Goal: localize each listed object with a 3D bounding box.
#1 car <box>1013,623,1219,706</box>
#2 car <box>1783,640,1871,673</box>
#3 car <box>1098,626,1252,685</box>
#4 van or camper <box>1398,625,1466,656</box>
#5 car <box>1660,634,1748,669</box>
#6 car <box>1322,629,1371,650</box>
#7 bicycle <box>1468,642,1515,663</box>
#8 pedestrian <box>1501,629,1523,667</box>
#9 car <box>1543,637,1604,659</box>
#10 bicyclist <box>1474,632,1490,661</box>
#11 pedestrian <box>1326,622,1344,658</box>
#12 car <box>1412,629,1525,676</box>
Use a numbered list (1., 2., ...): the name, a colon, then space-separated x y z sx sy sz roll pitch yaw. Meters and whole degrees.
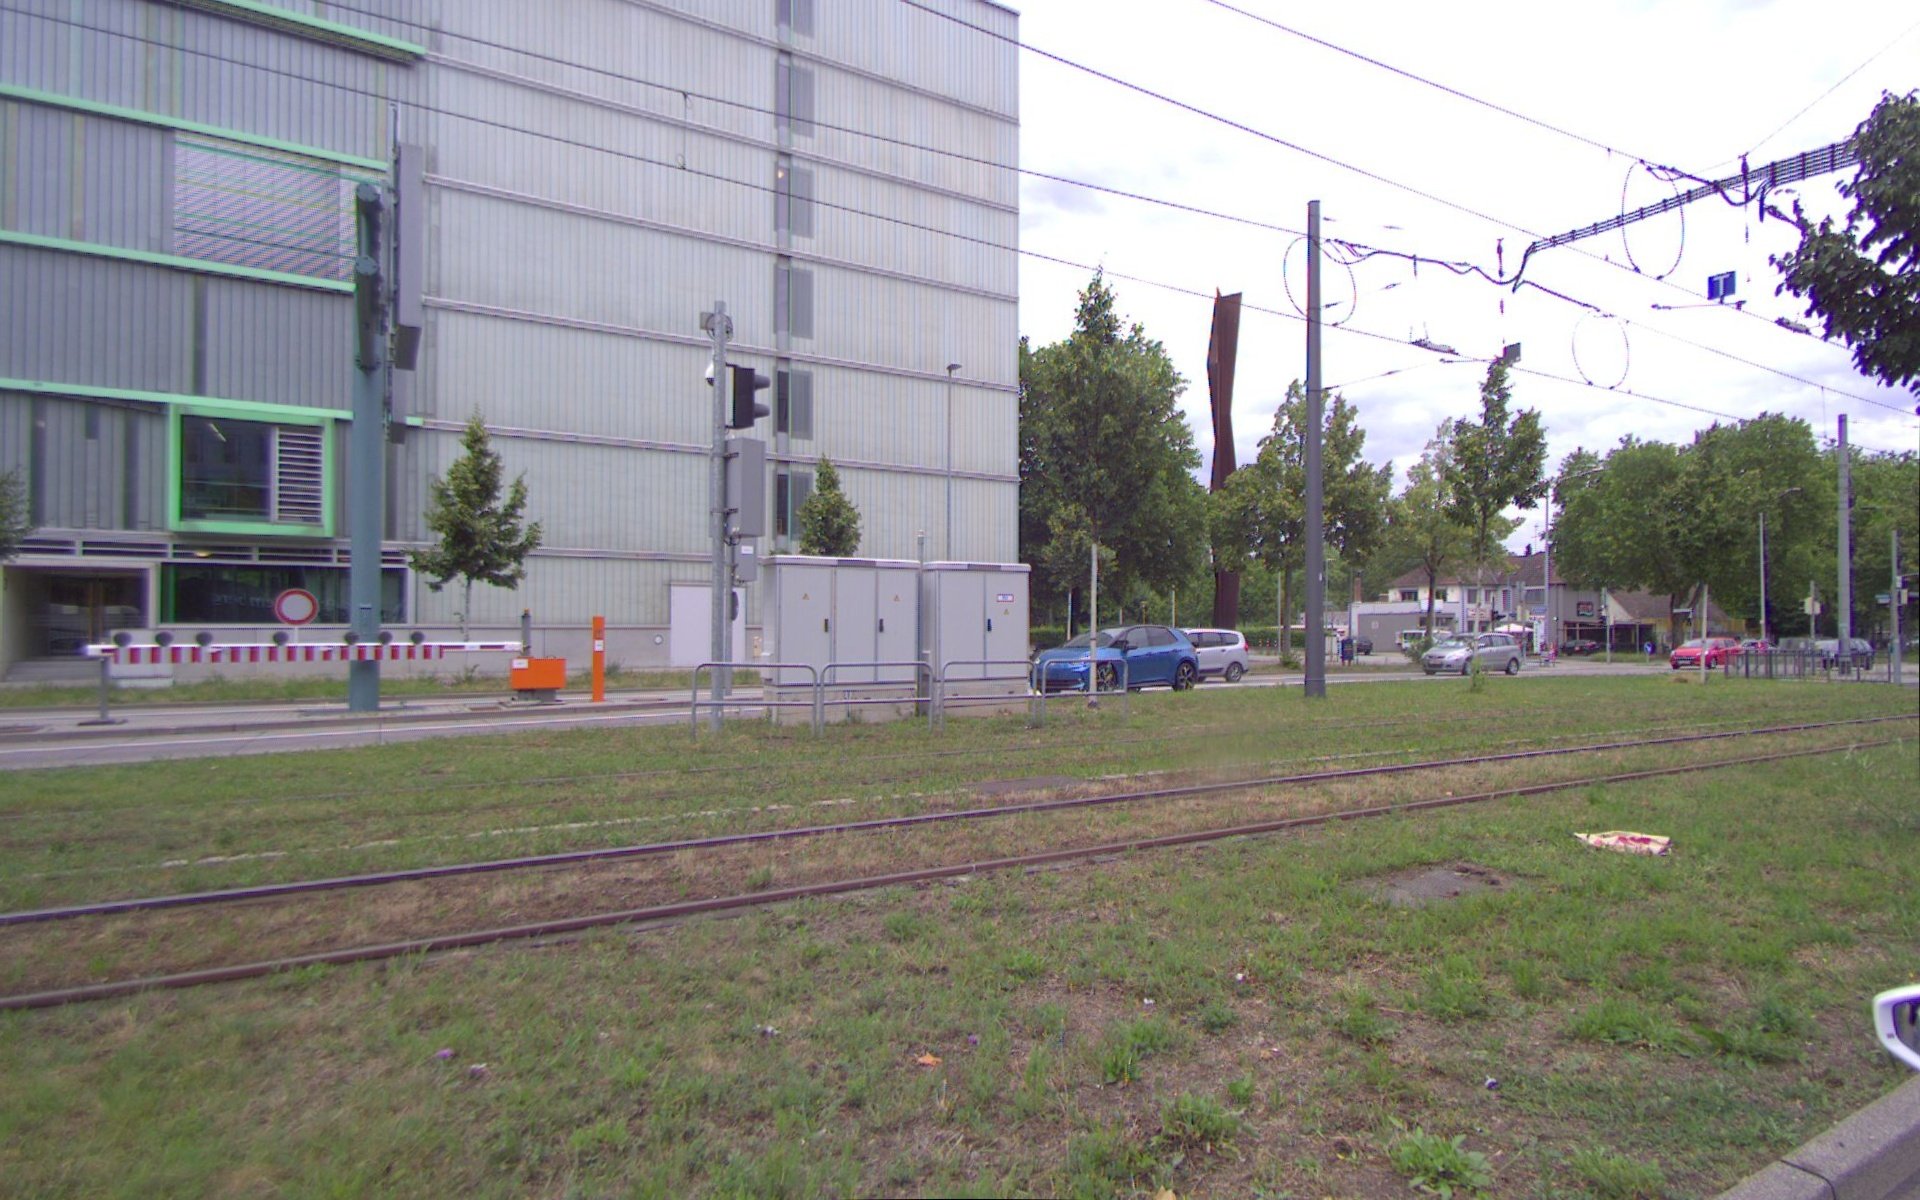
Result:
1. car: 3.534 1.338 22.279 4.649 1.609 1.948 1 -1 -39
2. car: 39.606 2.553 45.846 4.692 1.445 1.655 1 -3 -32
3. car: 6.504 1.655 30.229 4.529 1.591 1.786 2 1 -32
4. van or camper: 32.408 2.763 69.180 2.416 2.040 5.283 0 -1 2
5. car: 35.268 2.410 47.604 4.275 1.591 1.788 1 -1 -29
6. car: 35.624 3.601 92.679 1.974 1.873 3.973 1 -1 -27
7. bicycle: 32.788 3.210 61.964 2.474 1.218 0.738 -1 -1 35
8. pedestrian: 26.962 2.329 49.087 0.769 1.856 0.771 -1 -1 43
9. car: 54.963 4.302 90.088 2.078 1.840 4.268 1 -1 -25
10. bicyclist: 32.354 2.885 62.263 0.838 1.744 0.719 0 -1 34
11. pedestrian: 21.266 2.270 56.988 0.887 2.040 0.954 0 -1 18
12. car: 19.307 1.958 38.083 4.623 1.665 1.711 1 -2 -33
